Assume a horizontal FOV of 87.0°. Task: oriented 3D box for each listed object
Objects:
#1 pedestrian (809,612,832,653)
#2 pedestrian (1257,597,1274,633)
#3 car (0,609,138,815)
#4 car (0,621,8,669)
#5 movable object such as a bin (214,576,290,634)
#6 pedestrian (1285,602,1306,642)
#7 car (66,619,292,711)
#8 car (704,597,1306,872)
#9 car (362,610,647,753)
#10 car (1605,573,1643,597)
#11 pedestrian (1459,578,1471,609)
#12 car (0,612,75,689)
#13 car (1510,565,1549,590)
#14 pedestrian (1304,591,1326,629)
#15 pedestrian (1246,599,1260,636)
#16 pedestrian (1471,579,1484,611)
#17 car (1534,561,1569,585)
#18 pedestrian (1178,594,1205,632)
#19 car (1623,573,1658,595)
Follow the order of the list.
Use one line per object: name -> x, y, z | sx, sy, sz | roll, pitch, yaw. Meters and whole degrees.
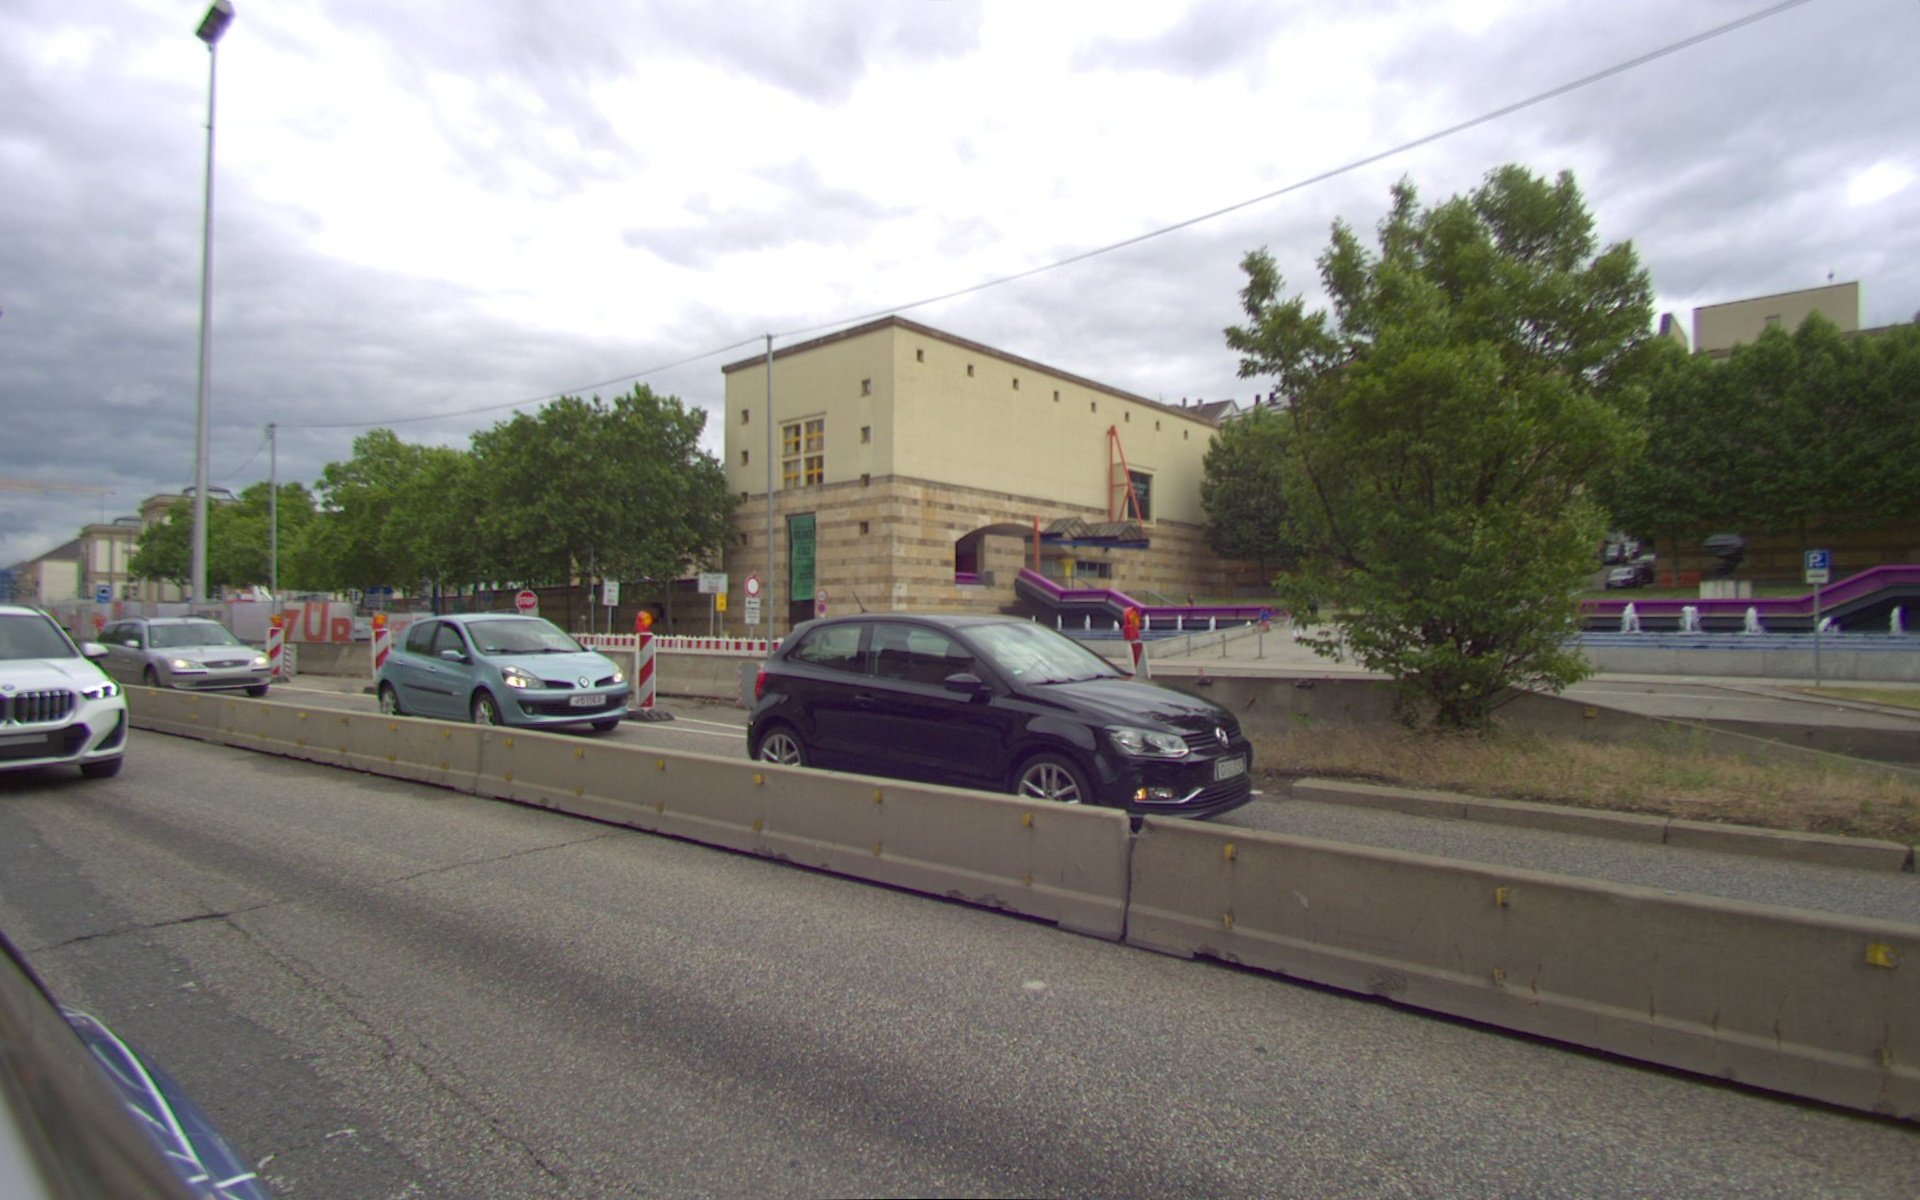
pedestrian -> -7.158, 1.647, 51.924 | 0.815, 2.029, 0.836 | -1, 1, 42
pedestrian -> 14.421, 0.695, 47.748 | 0.526, 1.708, 0.689 | -1, -1, 41
car -> -9.653, 0.919, 9.570 | 4.898, 1.640, 1.834 | -1, 0, 37
car -> -28.643, 1.273, 28.742 | 3.929, 1.306, 1.710 | -1, 0, 37
movable object such as a bin -> -27.931, 0.239, 39.892 | 3.287, 2.202, 1.507 | -1, -2, 37
pedestrian -> 14.368, 0.935, 43.342 | 0.518, 1.708, 0.700 | -1, 0, -13
car -> -14.535, 1.117, 18.762 | 4.690, 1.492, 1.864 | -1, -1, 33
car -> 0.134, 0.740, 7.337 | 4.192, 1.465, 1.643 | -1, -1, 38
car -> -5.775, 0.899, 12.661 | 3.849, 1.518, 1.656 | -1, -1, 38
car -> 43.709, -0.985, 66.593 | 1.610, 1.548, 3.756 | -1, 1, 41
pedestrian -> 28.894, -0.354, 57.887 | 0.477, 1.762, 0.638 | -1, -1, 40
car -> -21.890, 1.099, 23.109 | 4.040, 1.633, 1.759 | -1, 0, 37
car -> 42.913, -1.692, 76.274 | 1.611, 1.811, 3.752 | -2, -1, 44
pedestrian -> 17.976, 0.510, 51.208 | 0.804, 1.866, 0.684 | -1, 1, 43
pedestrian -> 13.611, 0.826, 47.004 | 0.526, 1.708, 0.338 | -1, -1, 42
pedestrian -> 29.407, -0.276, 57.484 | 0.477, 1.762, 0.638 | -1, -1, 40
car -> 47.946, -2.169, 81.991 | 1.610, 1.811, 3.754 | -2, 0, 43
pedestrian -> 12.656, 0.702, 55.422 | 0.907, 2.029, 1.094 | -2, 1, -44
car -> 48.370, -1.142, 71.885 | 1.610, 1.548, 3.756 | -1, 1, 41
